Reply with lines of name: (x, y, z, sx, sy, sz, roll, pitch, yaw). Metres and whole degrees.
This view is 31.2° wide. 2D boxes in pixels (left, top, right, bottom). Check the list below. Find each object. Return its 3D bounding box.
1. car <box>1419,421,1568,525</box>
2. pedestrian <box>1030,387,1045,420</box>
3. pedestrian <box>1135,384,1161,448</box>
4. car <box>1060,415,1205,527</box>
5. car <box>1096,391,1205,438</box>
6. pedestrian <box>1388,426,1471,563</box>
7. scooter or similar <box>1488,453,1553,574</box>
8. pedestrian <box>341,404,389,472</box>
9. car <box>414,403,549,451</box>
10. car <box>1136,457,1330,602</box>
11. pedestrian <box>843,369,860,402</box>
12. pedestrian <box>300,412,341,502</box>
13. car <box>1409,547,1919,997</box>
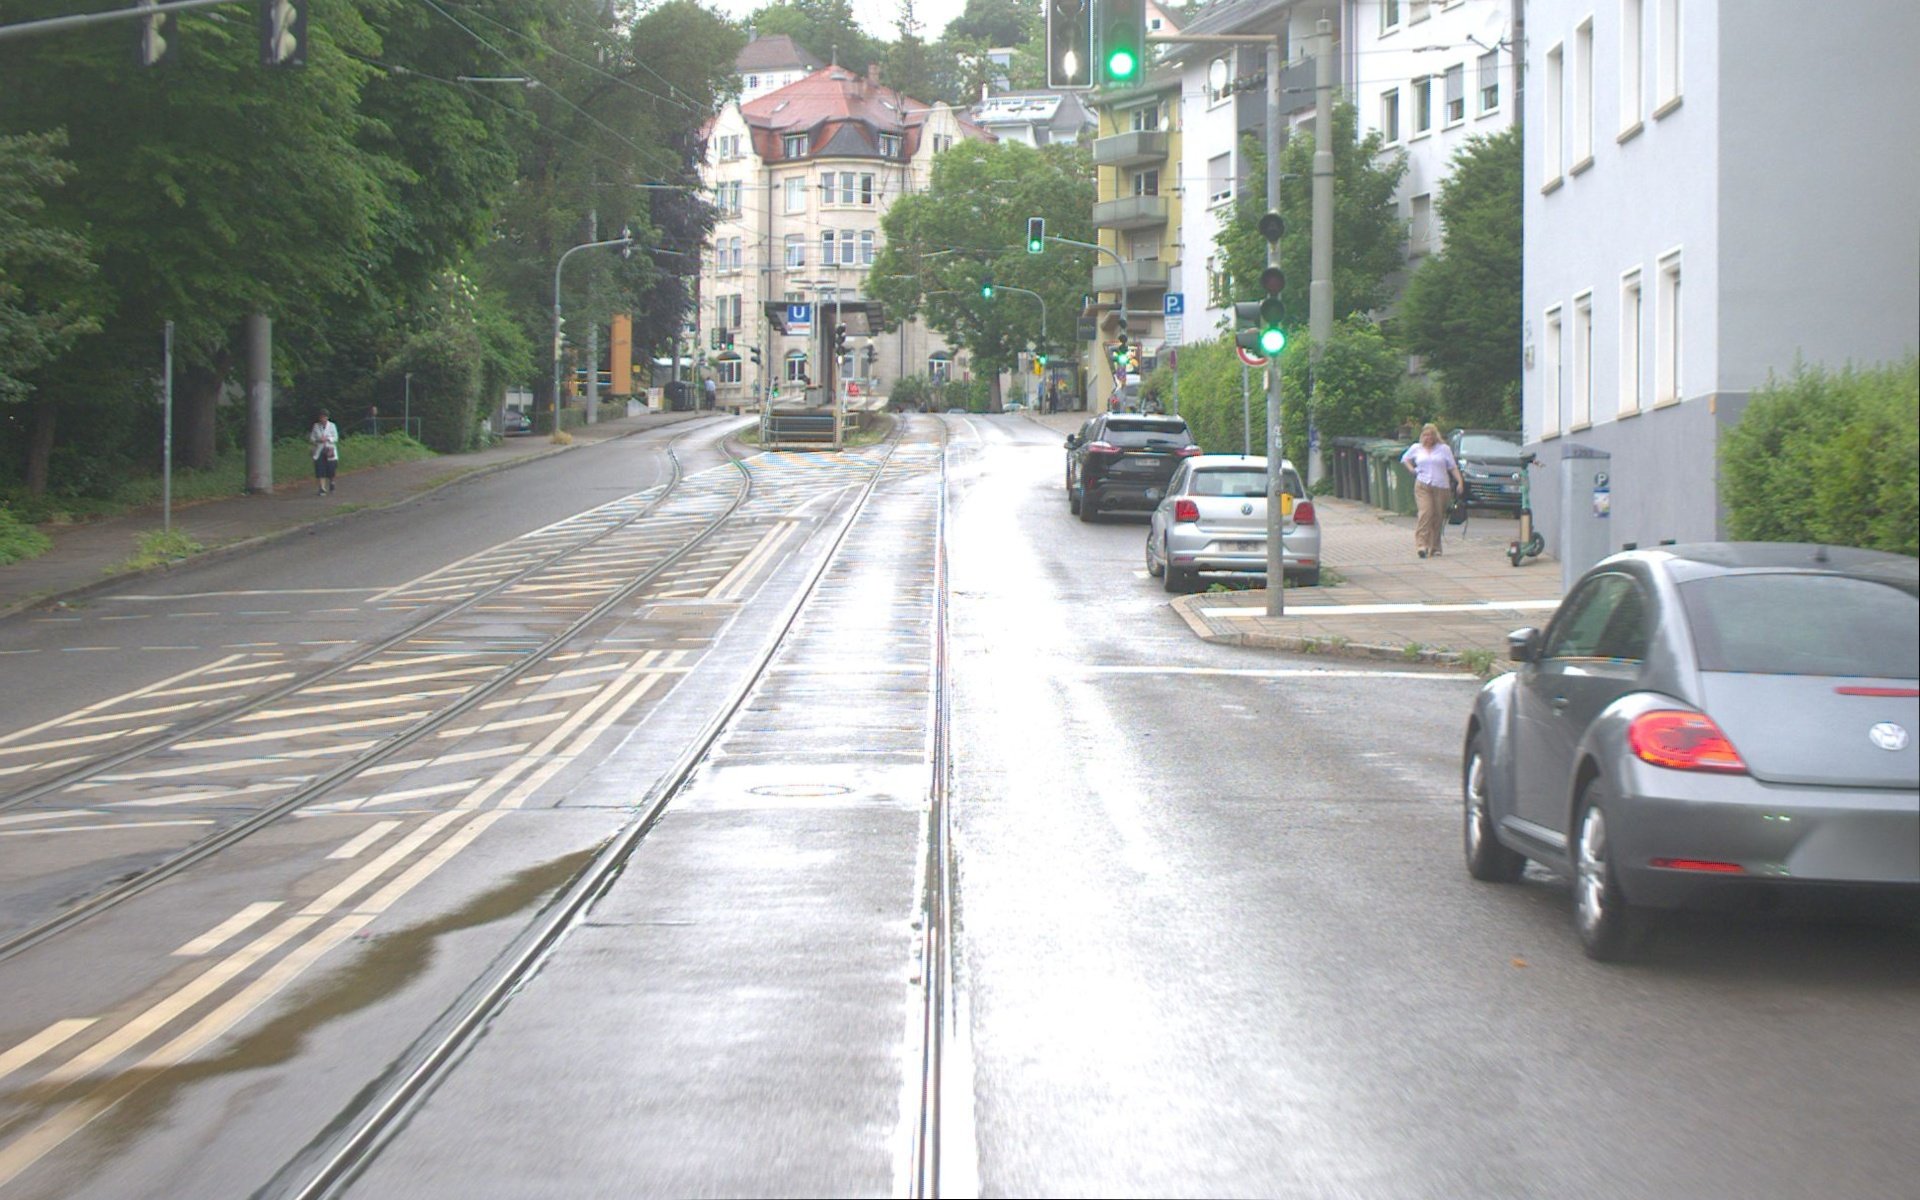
car: (8.760, -2.059, 56.746, 1.720, 1.509, 4.204, 1, 0, -1)
pedestrian: (3.564, -8.992, 157.542, 0.578, 1.461, 0.544, 1, -1, -8)
pedestrian: (4.821, -4.717, 88.267, 0.644, 1.623, 0.699, 1, 2, 4)
car: (2.686, -2.078, 54.534, 1.906, 1.636, 4.690, 2, 3, -1)
car: (7.243, -7.062, 131.113, 3.987, 1.640, 1.808, 1, 1, -1)
pedestrian: (5.664, -1.278, 41.513, 0.882, 1.577, 0.801, -2, 5, 2)
scooter or similar: (6.328, -0.992, 38.880, 0.575, 1.245, 1.610, 1, 5, 5)
pedestrian: (-15.100, -4.106, 87.233, 0.917, 1.672, 0.739, 1, -1, 28)
car: (-15.348, -5.545, 110.297, 3.992, 1.401, 1.681, 1, 0, 23)
car: (2.987, -0.830, 38.311, 1.704, 1.428, 4.102, 2, 3, -1)
pedestrian: (-4.898, -9.682, 155.214, 0.657, 1.461, 0.772, -1, -1, 2)
pedestrian: (-11.566, -2.592, 62.192, 0.583, 1.594, 0.869, 2, 2, -4)
car: (3.089, 0.543, 13.379, 1.939, 1.459, 4.207, 1, 1, -2)
